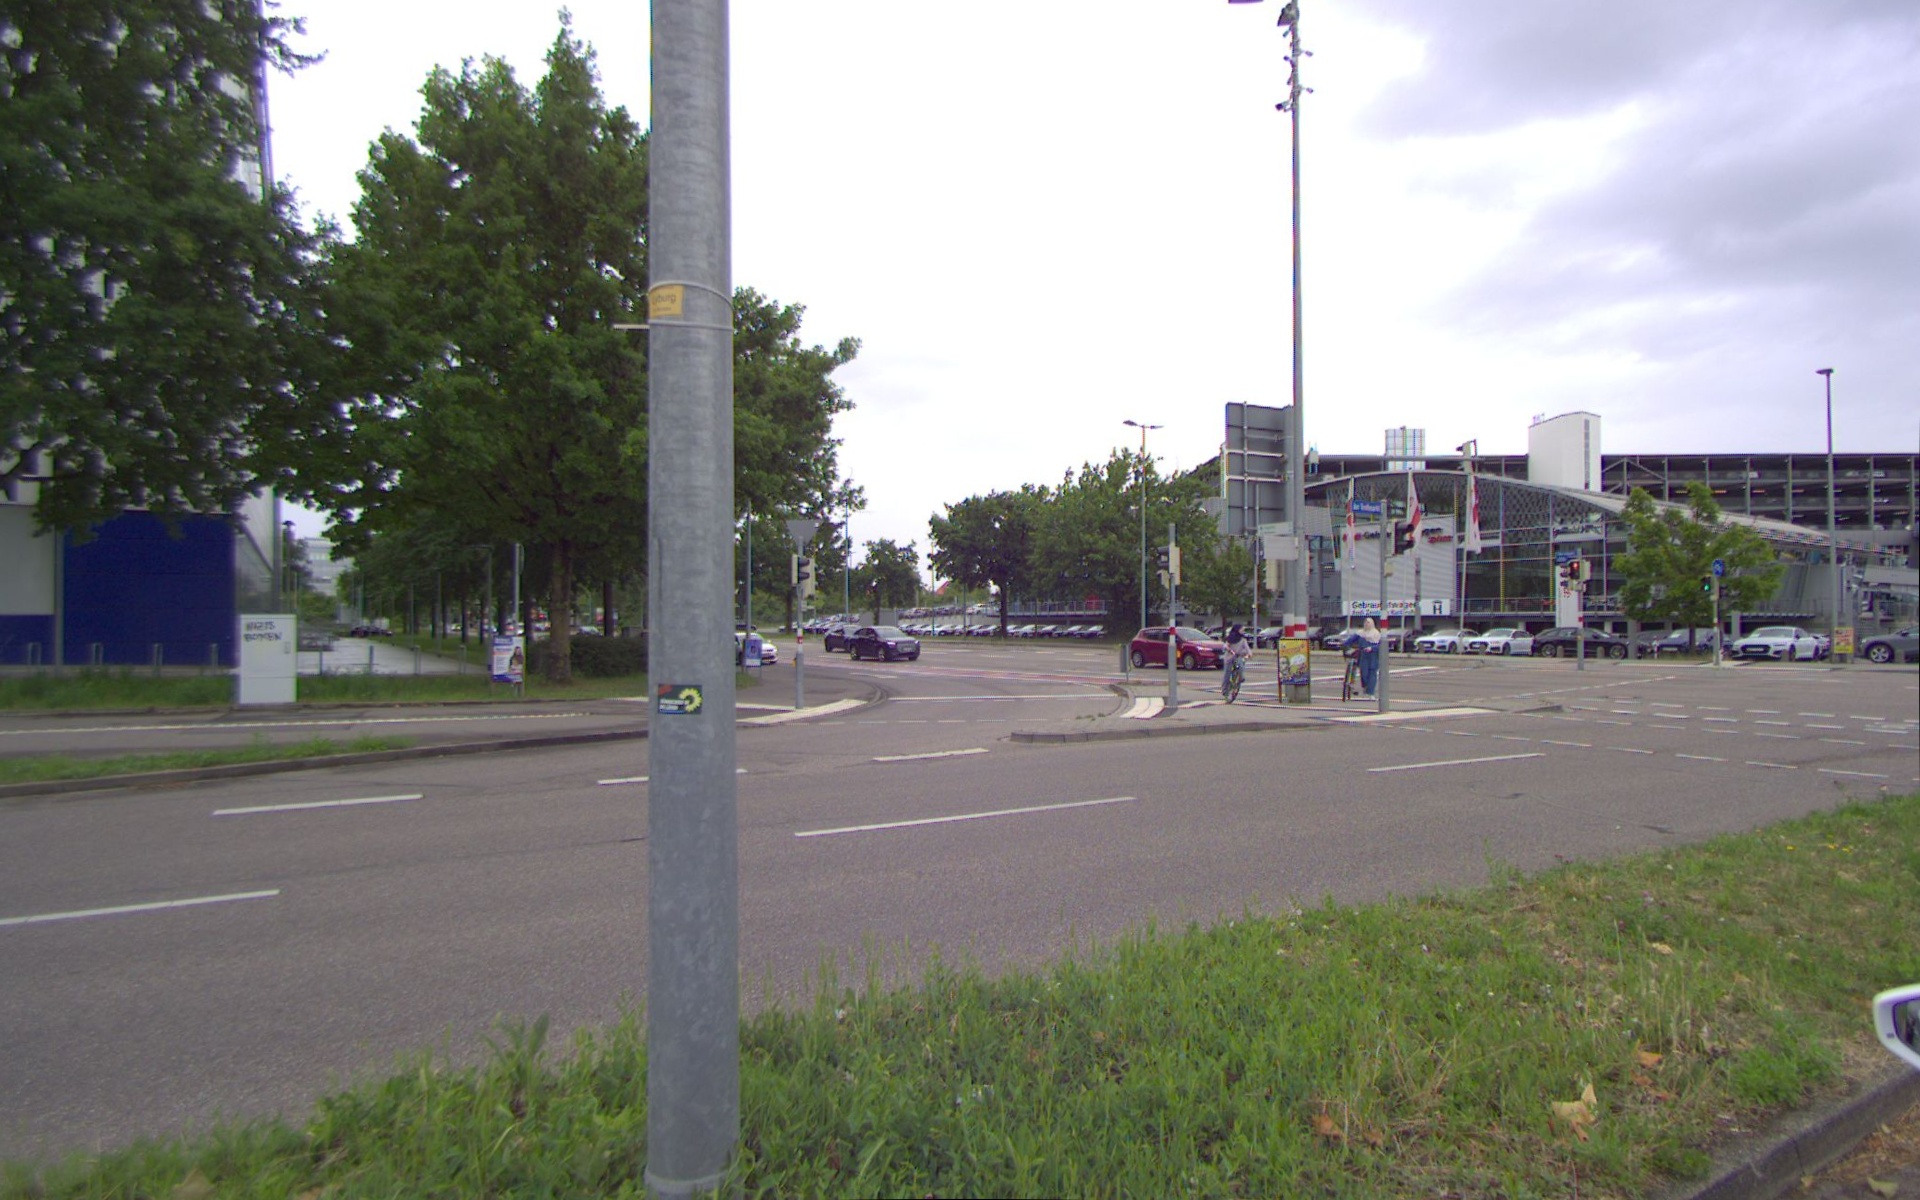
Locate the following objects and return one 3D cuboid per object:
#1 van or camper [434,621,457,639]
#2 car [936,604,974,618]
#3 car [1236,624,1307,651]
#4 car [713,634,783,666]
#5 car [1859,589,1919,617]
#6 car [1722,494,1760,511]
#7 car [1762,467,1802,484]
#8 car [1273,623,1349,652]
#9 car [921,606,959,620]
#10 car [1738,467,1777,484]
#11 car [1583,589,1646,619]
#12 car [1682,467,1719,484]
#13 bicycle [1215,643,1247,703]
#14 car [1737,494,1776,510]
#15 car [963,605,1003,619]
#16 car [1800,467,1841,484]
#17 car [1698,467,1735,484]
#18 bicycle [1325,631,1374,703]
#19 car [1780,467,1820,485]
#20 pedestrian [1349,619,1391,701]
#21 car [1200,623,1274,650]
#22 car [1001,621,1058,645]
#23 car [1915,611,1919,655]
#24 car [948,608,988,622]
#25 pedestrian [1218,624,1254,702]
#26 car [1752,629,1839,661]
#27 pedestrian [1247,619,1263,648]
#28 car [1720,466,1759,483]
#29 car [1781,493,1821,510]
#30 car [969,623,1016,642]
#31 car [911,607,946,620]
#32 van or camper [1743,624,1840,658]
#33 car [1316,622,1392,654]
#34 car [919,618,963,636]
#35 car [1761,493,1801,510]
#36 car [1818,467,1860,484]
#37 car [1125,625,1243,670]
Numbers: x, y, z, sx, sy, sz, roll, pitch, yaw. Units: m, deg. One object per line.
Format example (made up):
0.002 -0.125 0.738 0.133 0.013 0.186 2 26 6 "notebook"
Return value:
-56.308 3.289 109.919 1.977 1.744 4.359 0 -3 -31 "van or camper"
-0.597 1.362 120.559 4.306 1.516 1.951 2 0 -35 "car"
18.548 2.214 59.787 4.125 1.409 1.885 4 -3 -34 "car"
-10.161 2.361 48.060 1.771 1.471 3.891 1 -3 -38 "car"
65.050 0.216 69.474 1.740 1.862 3.965 2 0 -32 "car"
101.478 -12.655 130.508 1.960 1.689 4.001 1 0 2 "car"
106.627 -16.134 130.304 1.960 1.689 4.001 1 0 2 "car"
20.106 2.148 57.537 4.335 1.489 1.877 4 -3 -34 "car"
-2.430 1.604 122.424 4.306 1.516 1.863 2 0 -35 "car"
103.564 -16.203 130.457 1.960 1.689 4.001 1 0 2 "car"
39.400 0.271 60.431 3.960 1.684 1.807 2 0 -35 "car"
96.321 -16.164 130.678 1.960 1.689 4.001 1 0 2 "car"
5.712 1.516 21.219 0.498 1.181 1.949 1 -3 11 "bicycle"
103.686 -12.724 130.764 1.960 1.689 4.001 1 0 2 "car"
2.661 1.353 116.205 4.306 1.516 1.863 2 0 -35 "car"
111.535 -16.174 130.230 1.960 1.689 4.001 1 0 2 "car"
98.538 -16.249 130.851 1.960 1.689 4.001 1 0 2 "car"
8.022 1.368 20.651 0.586 1.414 1.930 -3 -4 30 "bicycle"
108.900 -16.066 130.296 1.960 1.689 4.001 1 0 2 "car"
8.423 1.238 20.613 0.630 1.647 0.690 -3 -4 32 "pedestrian"
17.153 2.265 62.066 4.617 1.491 1.830 4 -2 -34 "car"
5.580 2.633 80.743 4.168 1.505 1.940 7 -3 -34 "car"
46.306 1.439 45.036 1.981 2.040 4.742 2 -4 -35 "car"
0.957 1.781 118.553 4.306 1.516 2.049 2 0 -35 "car"
5.708 1.300 20.814 0.640 1.569 0.650 1 -2 11 "pedestrian"
53.316 2.862 64.132 1.742 1.862 3.960 2 0 -35 "car"
19.175 2.180 65.299 0.666 1.895 0.713 3 -2 -31 "pedestrian"
101.355 -16.269 130.643 1.960 1.689 4.001 1 0 2 "car"
108.931 -12.754 130.162 1.960 1.689 4.001 1 0 2 "car"
2.719 2.744 84.426 3.639 1.506 1.696 2 0 -34 "car"
-3.927 1.697 124.564 4.058 1.516 1.713 2 0 -35 "car"
47.806 2.343 57.817 1.828 1.734 3.963 2 0 -33 "van or camper"
21.624 2.088 55.122 4.148 1.505 1.891 4 -3 -34 "car"
-1.743 2.476 91.194 3.639 1.506 1.696 2 0 -34 "car"
106.472 -12.761 130.273 1.960 1.689 4.001 1 0 2 "car"
113.709 -16.101 130.016 1.960 1.689 4.001 1 0 2 "car"
7.958 1.706 35.979 1.724 1.507 4.039 2 -3 -35 "car"
